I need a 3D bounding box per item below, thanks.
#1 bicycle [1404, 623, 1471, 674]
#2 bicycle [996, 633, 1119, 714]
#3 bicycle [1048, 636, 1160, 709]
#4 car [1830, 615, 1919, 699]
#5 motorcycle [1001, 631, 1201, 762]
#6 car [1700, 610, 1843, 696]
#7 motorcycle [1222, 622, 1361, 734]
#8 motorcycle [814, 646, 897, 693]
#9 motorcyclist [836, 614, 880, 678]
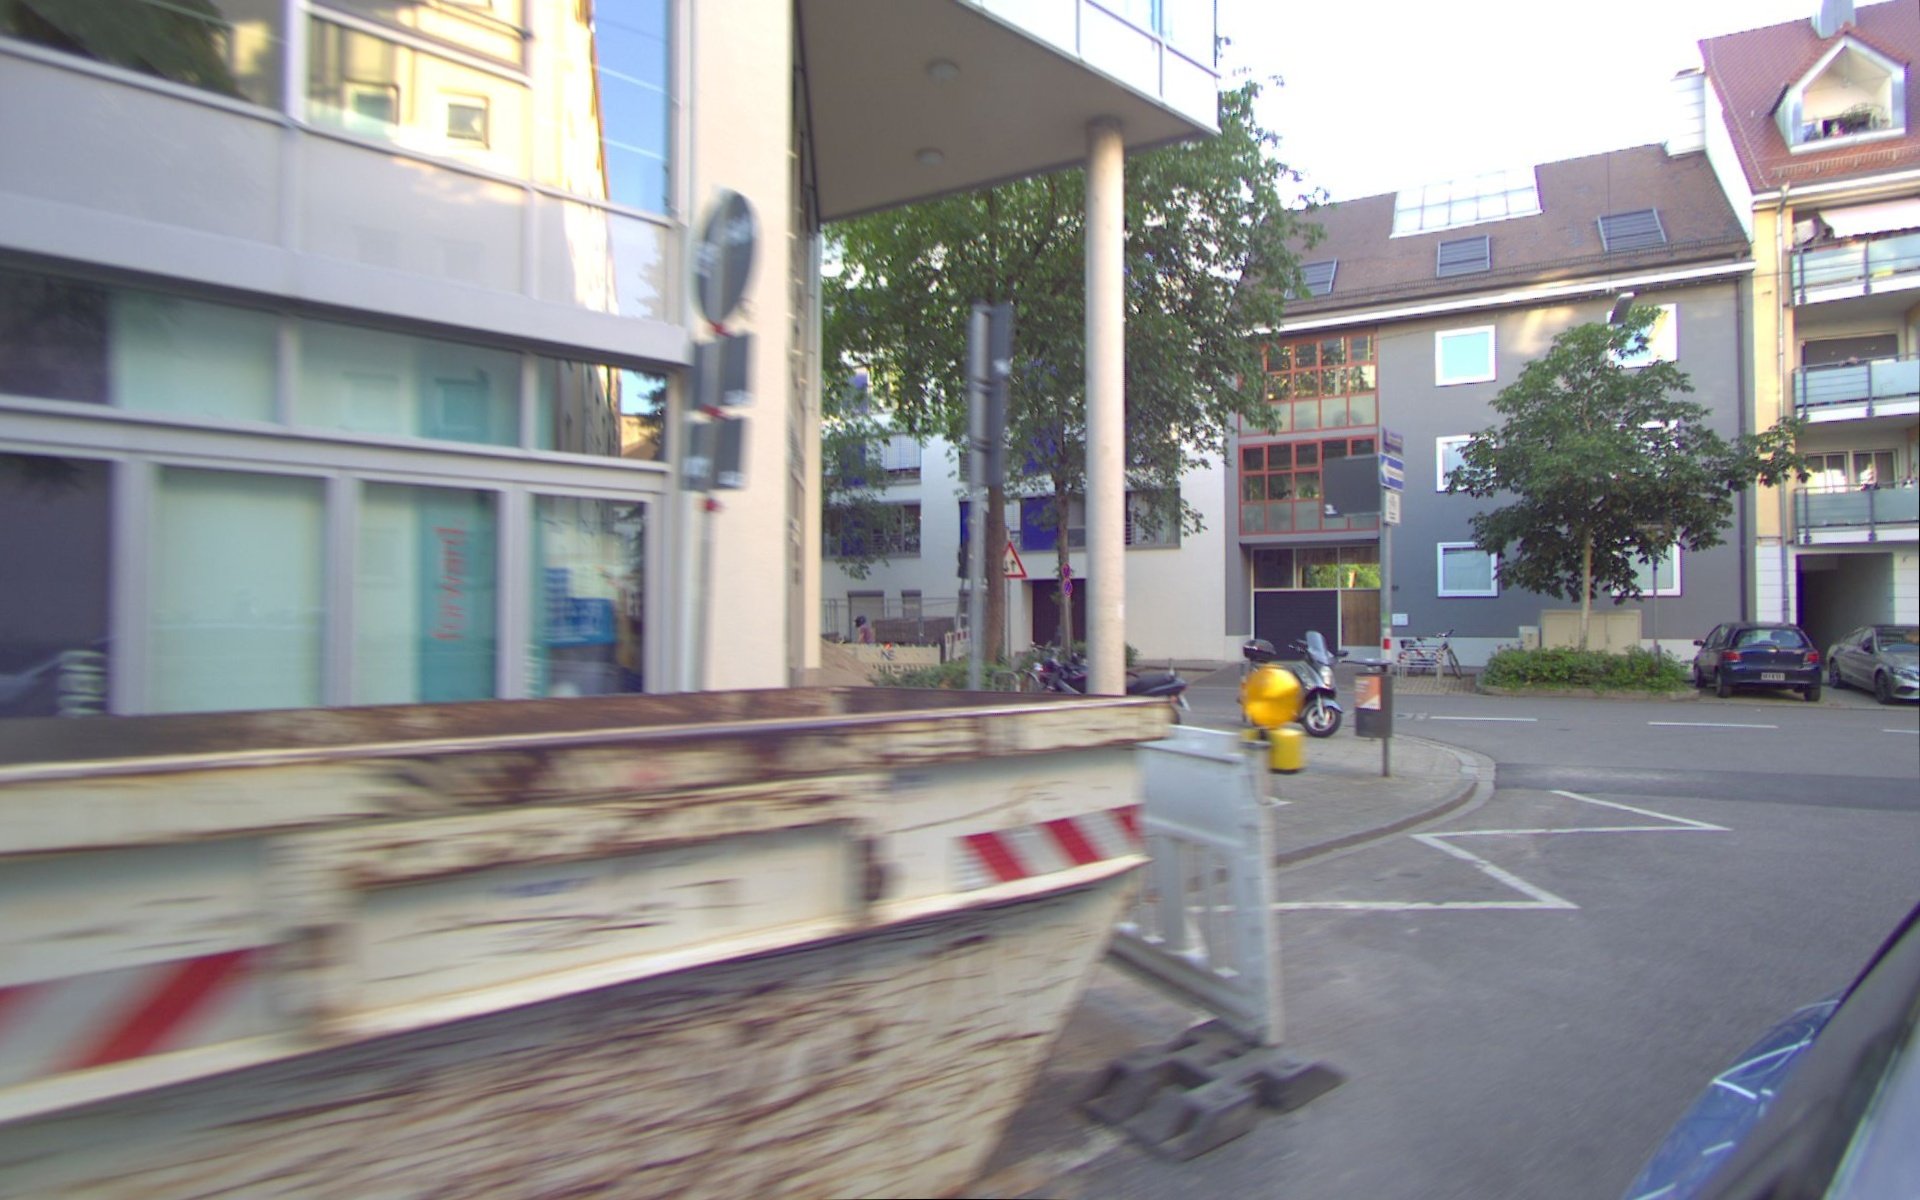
[{"bbox_3d":[12.010,1.210,25.476,1.487,1.186,0.721,0,2,29],"label":"bicycle"},{"bbox_3d":[1.493,1.093,15.519,1.783,1.132,0.597,1,-1,29],"label":"bicycle"},{"bbox_3d":[2.454,1.217,17.308,1.783,1.132,0.597,1,-1,29],"label":"bicycle"},{"bbox_3d":[19.088,1.102,19.984,1.854,1.527,4.252,0,-2,27],"label":"car"},{"bbox_3d":[1.540,1.017,11.204,2.106,1.290,0.610,1,-2,28],"label":"motorcycle"},{"bbox_3d":[16.687,1.019,20.978,1.730,1.545,3.328,0,0,29],"label":"car"},{"bbox_3d":[4.633,1.044,14.357,0.785,1.459,2.383,1,-2,-12],"label":"motorcycle"},{"bbox_3d":[-2.729,1.804,26.379,2.086,1.136,0.729,0,-2,26],"label":"motorcycle"},{"bbox_3d":[-2.660,1.186,26.397,0.905,1.635,0.715,0,-2,26],"label":"motorcyclist"}]
